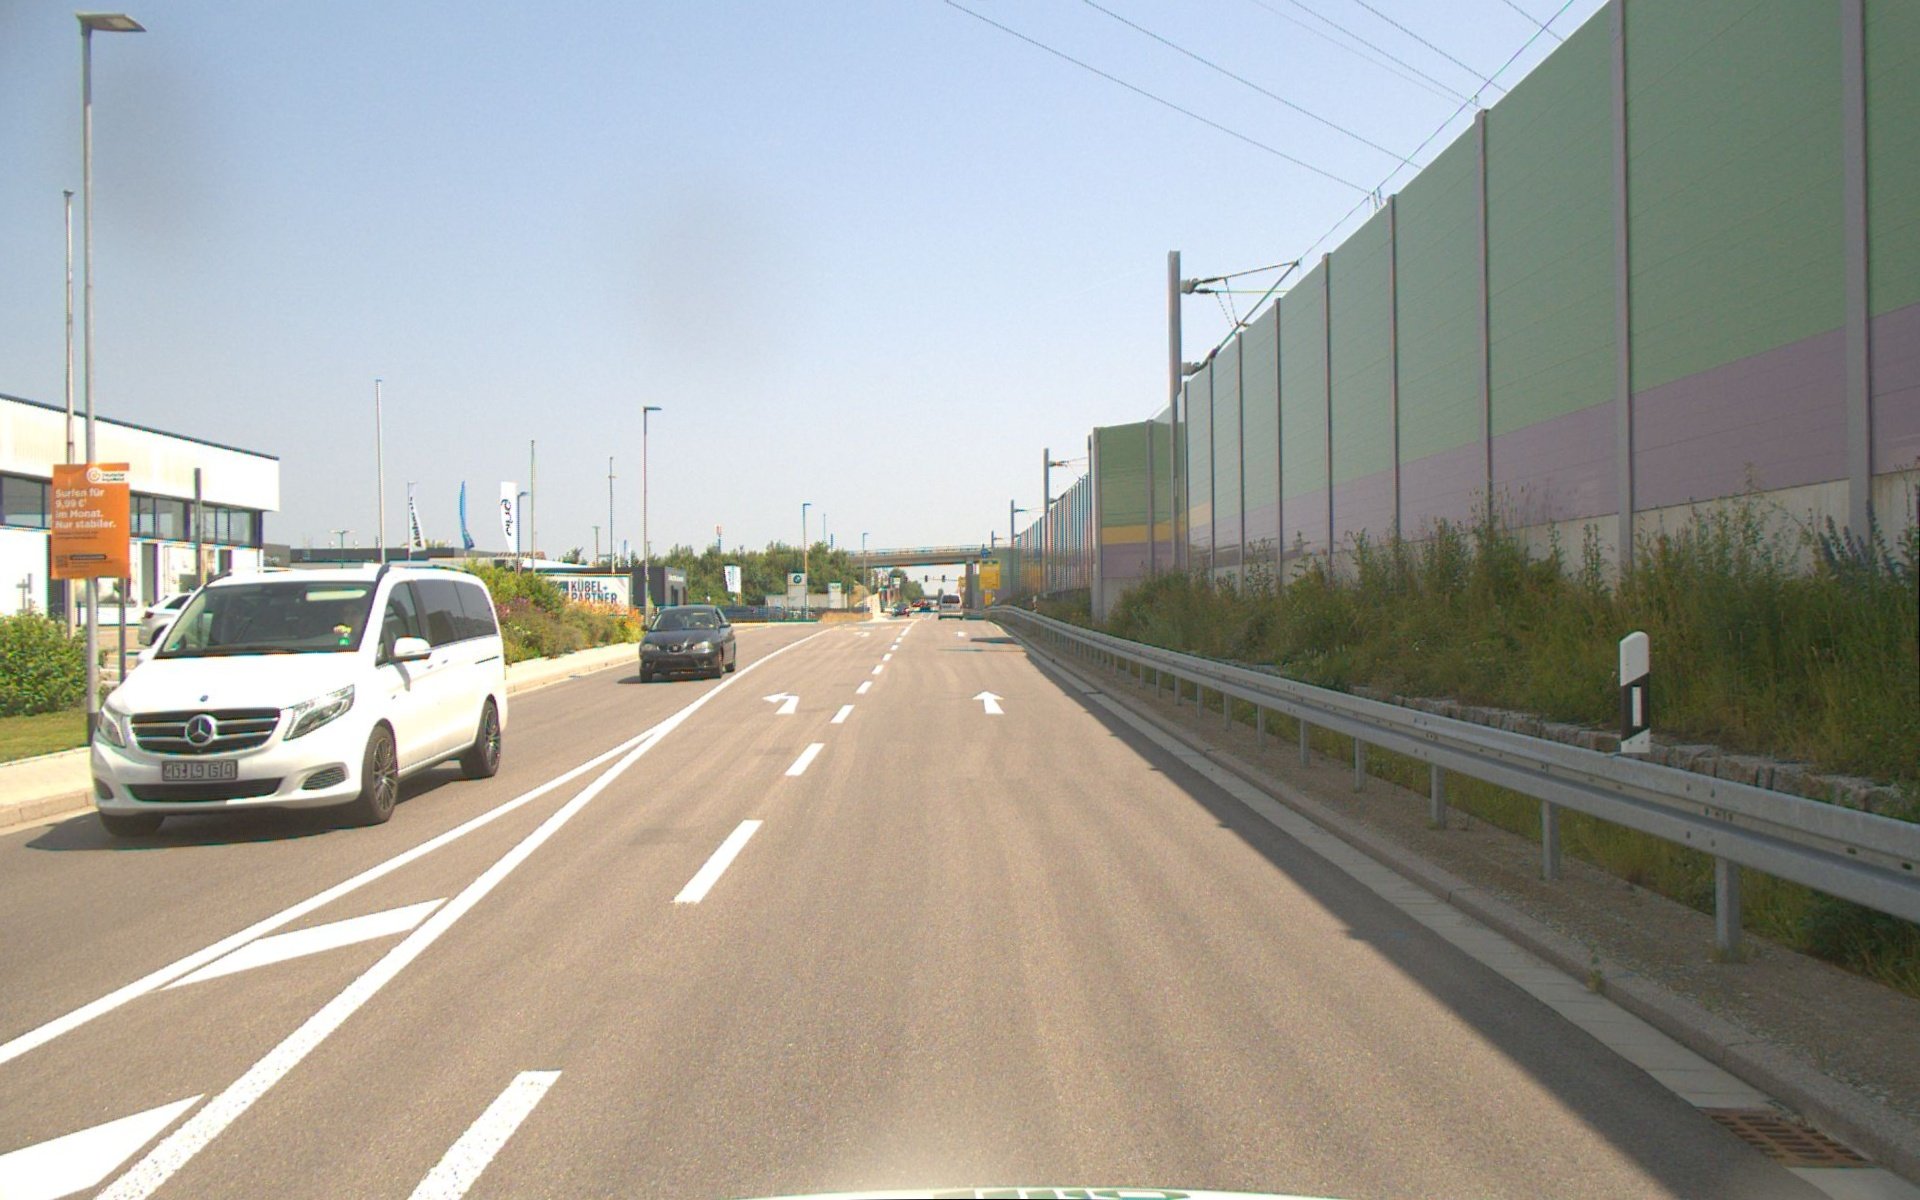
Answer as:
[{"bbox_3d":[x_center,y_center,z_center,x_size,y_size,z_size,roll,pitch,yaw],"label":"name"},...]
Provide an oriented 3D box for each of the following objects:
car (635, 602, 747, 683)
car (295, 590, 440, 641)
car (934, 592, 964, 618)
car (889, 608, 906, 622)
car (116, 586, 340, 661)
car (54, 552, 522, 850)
[{"bbox_3d":[-5.403,0.812,33.641,1.637,1.447,3.999,-3,0,-1],"label":"car"},{"bbox_3d":[-16.379,0.418,45.825,3.439,1.276,1.504,2,0,-3],"label":"car"},{"bbox_3d":[-0.743,0.355,115.383,1.952,1.788,4.000,-1,0,1],"label":"car"},{"bbox_3d":[-7.625,1.820,201.510,1.839,1.702,4.290,-1,0,0],"label":"car"},{"bbox_3d":[-16.227,0.509,36.801,4.139,1.481,1.763,2,0,-3],"label":"car"},{"bbox_3d":[-5.137,0.673,13.572,1.954,1.907,5.166,-2,0,-4],"label":"car"}]
